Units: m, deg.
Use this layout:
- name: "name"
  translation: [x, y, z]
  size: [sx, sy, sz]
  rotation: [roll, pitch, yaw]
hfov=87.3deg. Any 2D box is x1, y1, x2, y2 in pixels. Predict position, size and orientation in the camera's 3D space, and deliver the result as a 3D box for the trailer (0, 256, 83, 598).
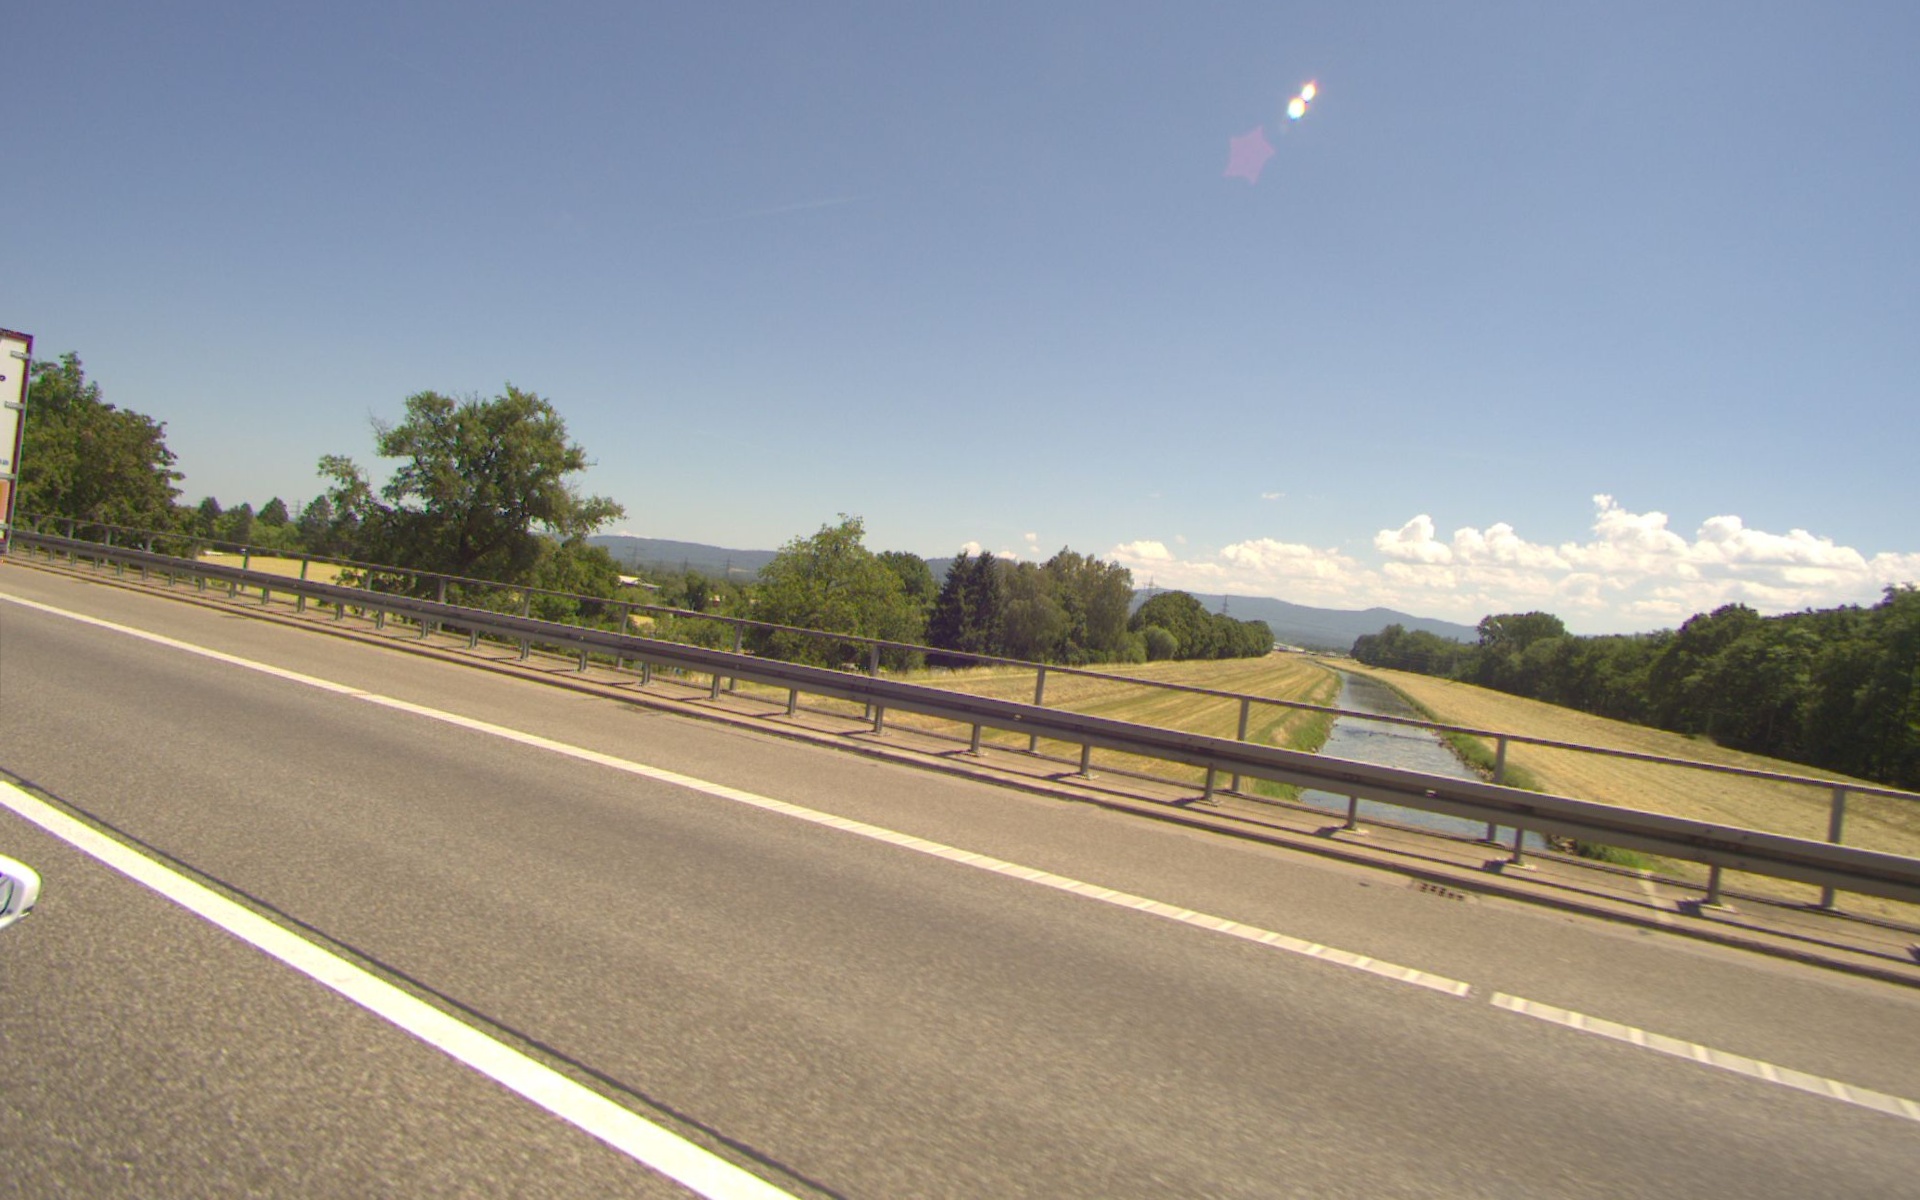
- name: "trailer"
  translation: [-20.395, -3.330, 17.618]
  size: [13.795, 4.895, 3.275]
  rotation: [7, -1, 32]
